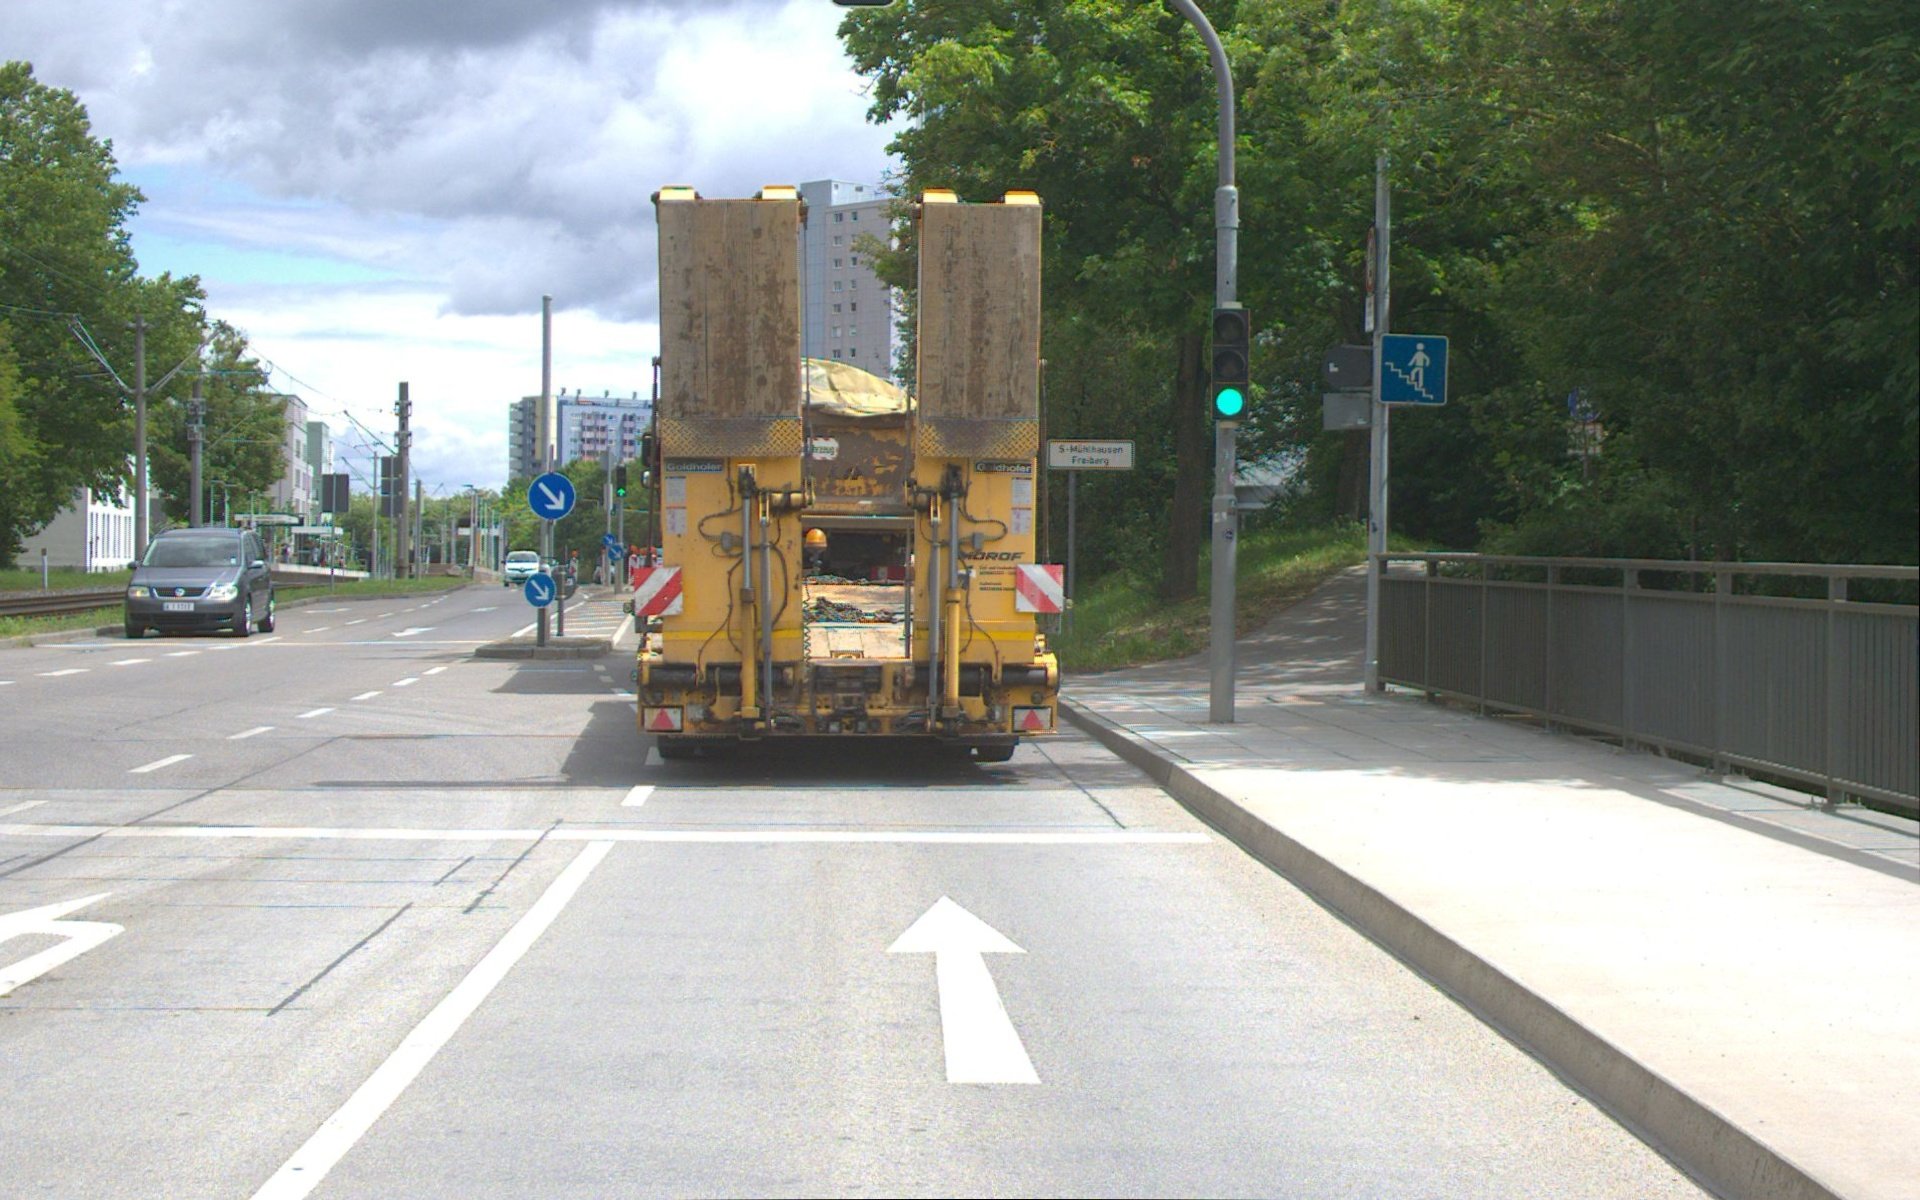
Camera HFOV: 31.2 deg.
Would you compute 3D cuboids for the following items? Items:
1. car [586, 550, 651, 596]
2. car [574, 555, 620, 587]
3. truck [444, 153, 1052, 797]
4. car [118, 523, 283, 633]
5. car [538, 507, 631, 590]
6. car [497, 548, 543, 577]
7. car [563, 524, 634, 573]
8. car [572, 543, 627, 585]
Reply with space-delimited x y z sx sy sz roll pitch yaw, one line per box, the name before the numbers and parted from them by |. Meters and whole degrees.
car | -11.752 -0.938 118.521 1.993 1.415 4.001 3 1 -3
car | -15.530 -1.251 147.286 1.783 1.267 4.346 1 1 -4
truck | -1.079 -0.843 26.402 3.316 3.638 12.561 2 1 2
car | -11.334 -0.351 51.522 1.783 1.564 4.346 1 1 -4
car | -9.302 -1.286 85.478 1.993 1.919 4.001 3 1 -3
car | -19.790 -1.700 154.842 1.783 1.267 4.346 1 1 -4
car | -11.389 -1.632 108.514 1.993 1.415 4.001 3 1 -3
car | -14.985 -1.519 143.043 1.993 1.612 4.001 3 1 -3
